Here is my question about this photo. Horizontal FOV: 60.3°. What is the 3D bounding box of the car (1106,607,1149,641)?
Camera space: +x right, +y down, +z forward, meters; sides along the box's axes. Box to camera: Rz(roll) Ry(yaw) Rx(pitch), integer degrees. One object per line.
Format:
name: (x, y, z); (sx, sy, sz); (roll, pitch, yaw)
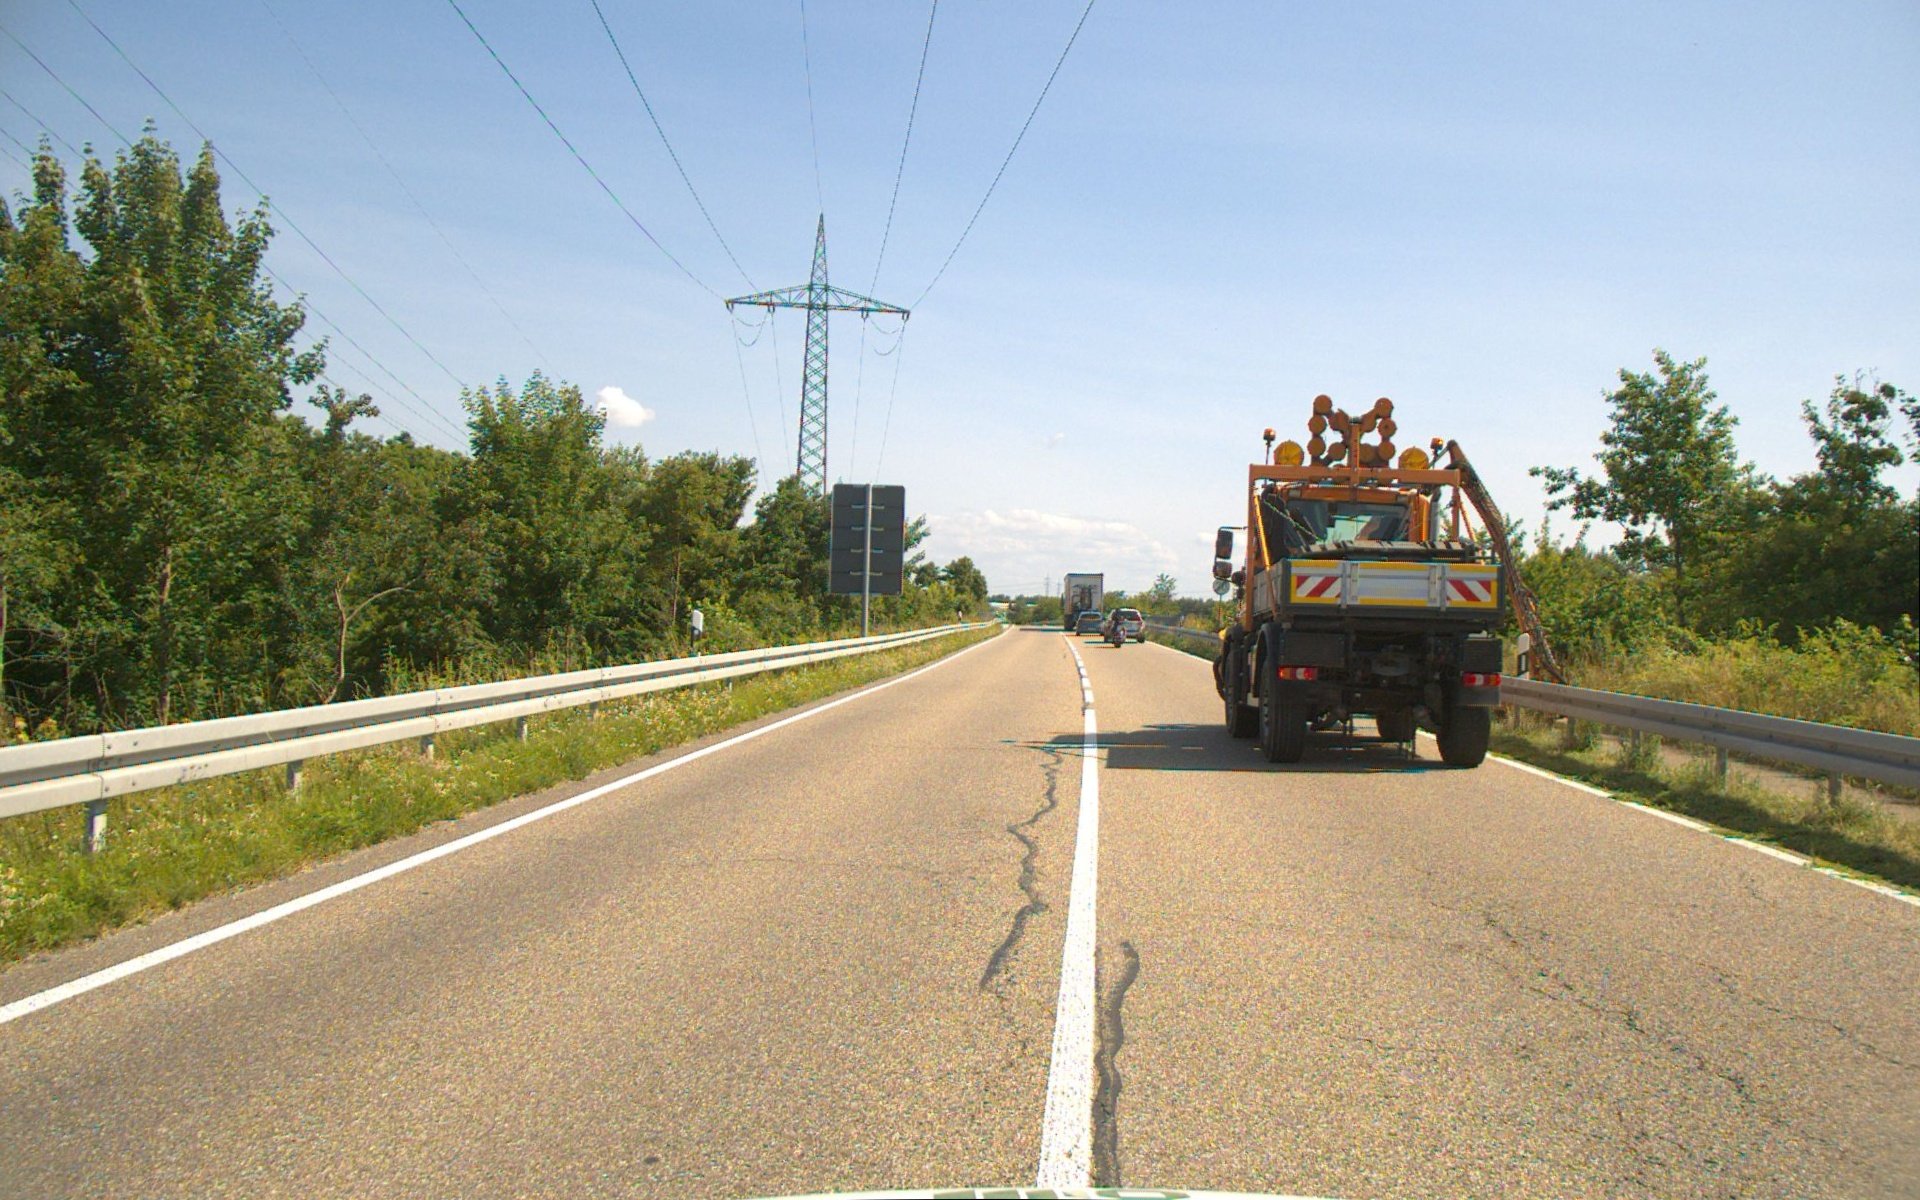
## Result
car: (7.812, 1.089, 77.322); (1.787, 1.477, 4.002); (1, 0, 3)

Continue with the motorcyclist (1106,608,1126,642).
motorcyclist: (6.260, 1.003, 66.252); (0.764, 1.349, 0.813); (1, 0, 4)

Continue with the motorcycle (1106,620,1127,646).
motorcycle: (6.244, 1.324, 66.232); (0.764, 0.993, 2.362); (1, 0, 4)

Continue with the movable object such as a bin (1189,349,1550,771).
movable object such as a bin: (4.481, -0.389, 20.193); (2.695, 3.906, 9.450); (1, 0, 4)

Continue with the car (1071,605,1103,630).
car: (7.657, 1.025, 99.914); (1.827, 1.445, 4.002); (1, 0, 4)

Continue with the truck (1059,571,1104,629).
truck: (9.046, 0.042, 123.184); (3.173, 4.048, 9.448); (1, -1, 4)
